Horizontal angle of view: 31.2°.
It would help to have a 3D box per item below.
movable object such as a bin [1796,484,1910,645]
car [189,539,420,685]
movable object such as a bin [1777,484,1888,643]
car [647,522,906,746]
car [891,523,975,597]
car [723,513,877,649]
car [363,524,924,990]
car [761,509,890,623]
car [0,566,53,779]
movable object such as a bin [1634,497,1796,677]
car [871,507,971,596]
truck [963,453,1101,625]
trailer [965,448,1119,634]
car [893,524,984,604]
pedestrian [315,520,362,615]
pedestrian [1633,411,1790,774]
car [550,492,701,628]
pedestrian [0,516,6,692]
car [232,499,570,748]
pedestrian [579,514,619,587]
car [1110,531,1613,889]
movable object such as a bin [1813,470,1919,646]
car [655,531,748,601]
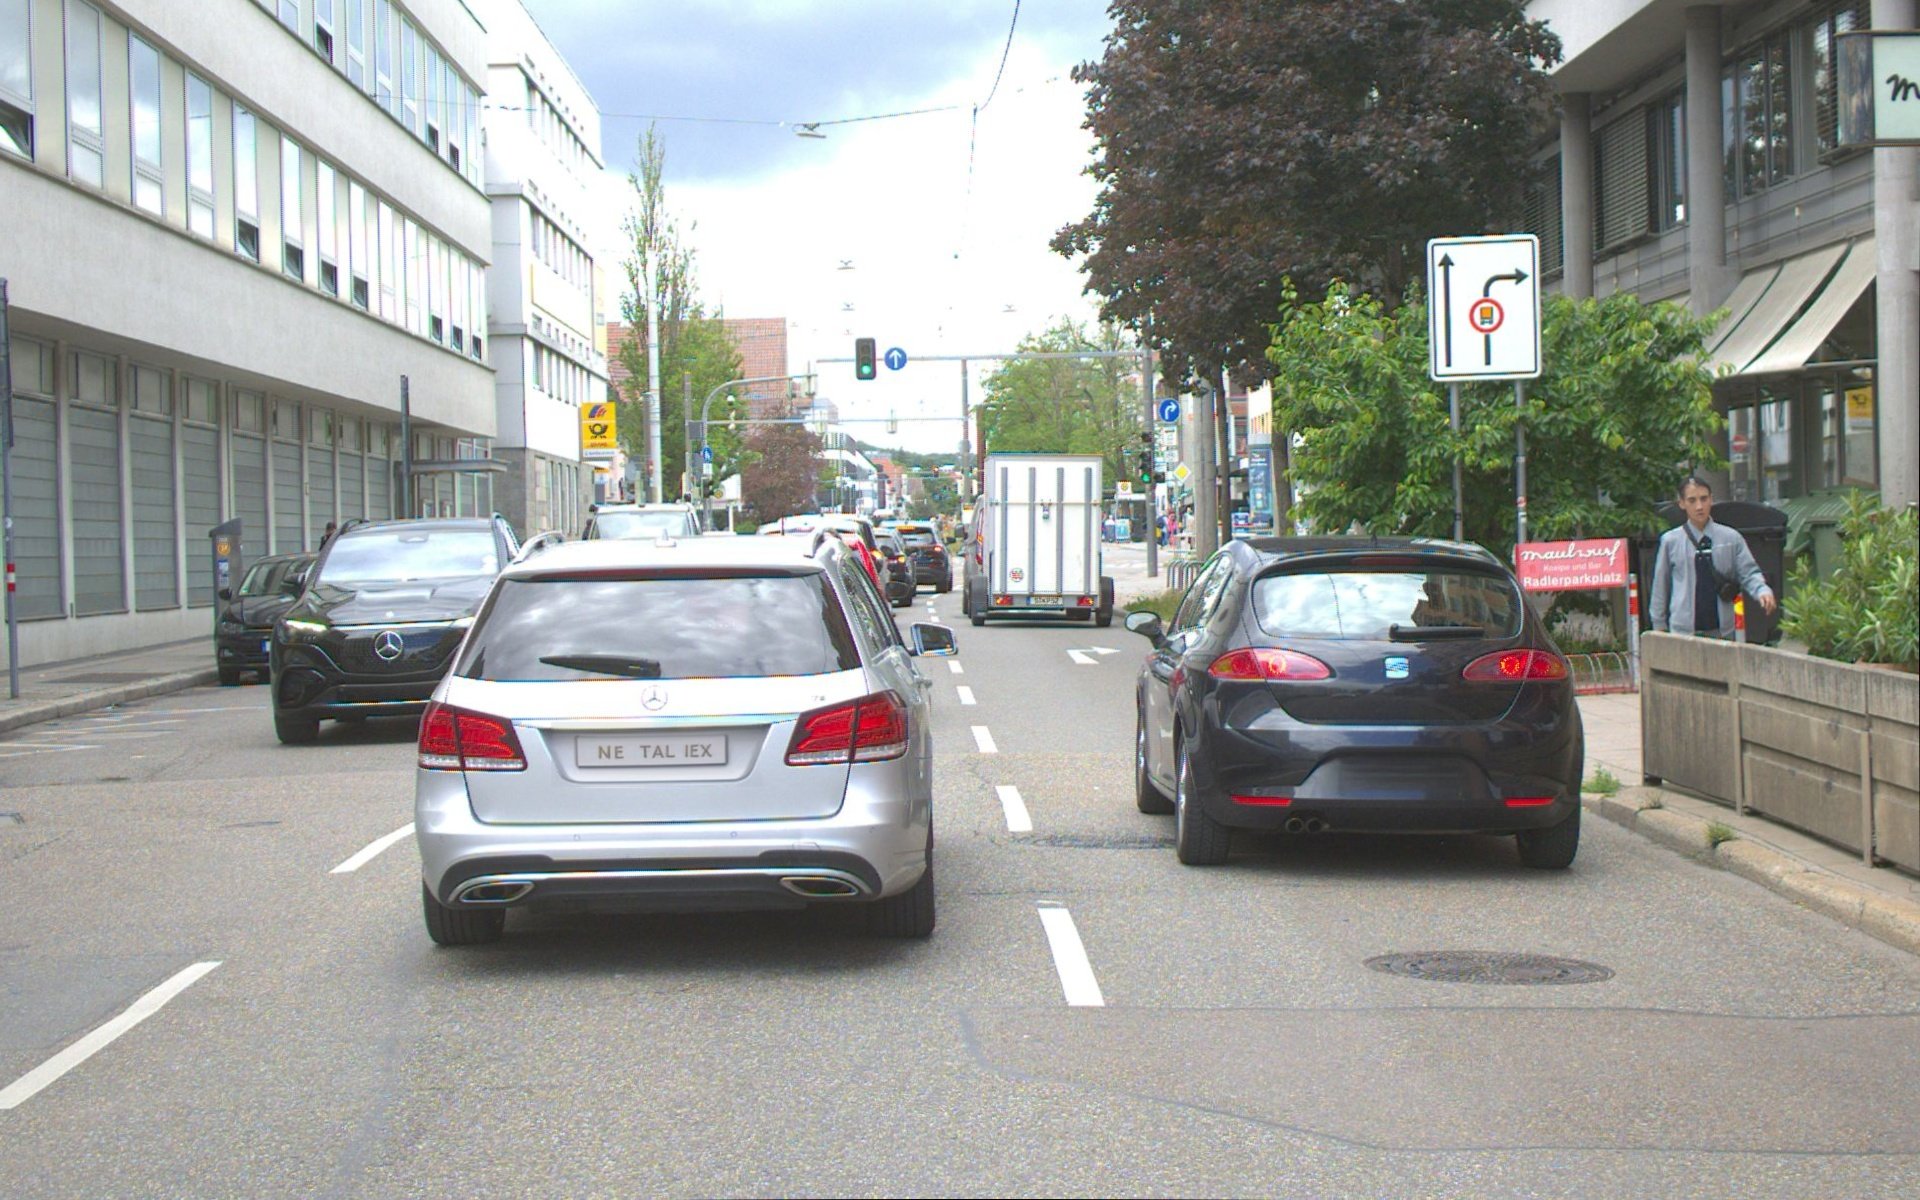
[{"bbox_3d":[8.579,-0.337,33.044,0.821,1.485,0.732,-4,0,1],"label":"movable object such as a bin"},{"bbox_3d":[-7.514,0.093,39.803,1.912,1.511,4.175,-2,1,-1],"label":"car"},{"bbox_3d":[8.573,-0.357,33.801,0.821,1.499,0.732,-4,0,1],"label":"movable object such as a bin"},{"bbox_3d":[-1.350,0.200,26.231,1.803,1.547,3.738,-1,1,-1],"label":"car"},{"bbox_3d":[-0.616,-0.905,76.234,1.803,1.596,3.738,0,1,-1],"label":"car"},{"bbox_3d":[-1.933,-0.269,42.401,1.803,1.596,3.738,0,1,-1],"label":"car"},{"bbox_3d":[-1.084,0.473,13.143,1.803,1.487,3.738,-1,1,-1],"label":"car"},{"bbox_3d":[-1.933,-0.516,50.118,1.803,1.596,3.738,0,1,-1],"label":"car"},{"bbox_3d":[-8.278,0.516,22.081,4.398,1.361,1.786,-2,2,-30],"label":"car"},{"bbox_3d":[6.494,-0.123,29.647,0.943,1.465,1.446,-3,1,-3],"label":"movable object such as a bin"},{"bbox_3d":[-0.755,-0.922,63.962,1.803,1.596,3.738,0,1,-1],"label":"car"},{"bbox_3d":[1.107,-0.975,54.351,1.993,2.598,3.261,-1,1,-1],"label":"truck"},{"bbox_3d":[1.171,-0.903,51.588,1.993,2.598,5.350,-1,1,-1],"label":"trailer"},{"bbox_3d":[-0.462,-0.766,70.956,1.803,1.596,3.738,0,1,-1],"label":"car"},{"bbox_3d":[-10.780,-0.568,59.622,0.656,1.617,0.681,-1,1,0],"label":"pedestrian"},{"bbox_3d":[4.248,-0.048,19.458,0.693,2.007,0.677,-1,1,-2],"label":"pedestrian"},{"bbox_3d":[-5.301,-0.671,55.121,1.993,2.007,4.903,-2,1,-1],"label":"car"},{"bbox_3d":[-9.968,0.050,34.329,0.642,1.763,0.810,-1,1,-1],"label":"pedestrian"},{"bbox_3d":[-4.356,0.120,27.485,1.993,1.733,4.554,-3,1,-1],"label":"car"},{"bbox_3d":[-9.343,-1.290,89.003,0.918,1.862,0.783,-1,1,-1],"label":"pedestrian"},{"bbox_3d":[1.740,0.414,16.081,1.765,1.428,3.829,-1,1,-2],"label":"car"},{"bbox_3d":[8.558,-0.390,32.288,0.821,1.584,0.732,-4,0,1],"label":"movable object such as a bin"},{"bbox_3d":[-5.608,-0.757,74.943,1.769,1.408,4.175,-2,1,-1],"label":"car"}]
